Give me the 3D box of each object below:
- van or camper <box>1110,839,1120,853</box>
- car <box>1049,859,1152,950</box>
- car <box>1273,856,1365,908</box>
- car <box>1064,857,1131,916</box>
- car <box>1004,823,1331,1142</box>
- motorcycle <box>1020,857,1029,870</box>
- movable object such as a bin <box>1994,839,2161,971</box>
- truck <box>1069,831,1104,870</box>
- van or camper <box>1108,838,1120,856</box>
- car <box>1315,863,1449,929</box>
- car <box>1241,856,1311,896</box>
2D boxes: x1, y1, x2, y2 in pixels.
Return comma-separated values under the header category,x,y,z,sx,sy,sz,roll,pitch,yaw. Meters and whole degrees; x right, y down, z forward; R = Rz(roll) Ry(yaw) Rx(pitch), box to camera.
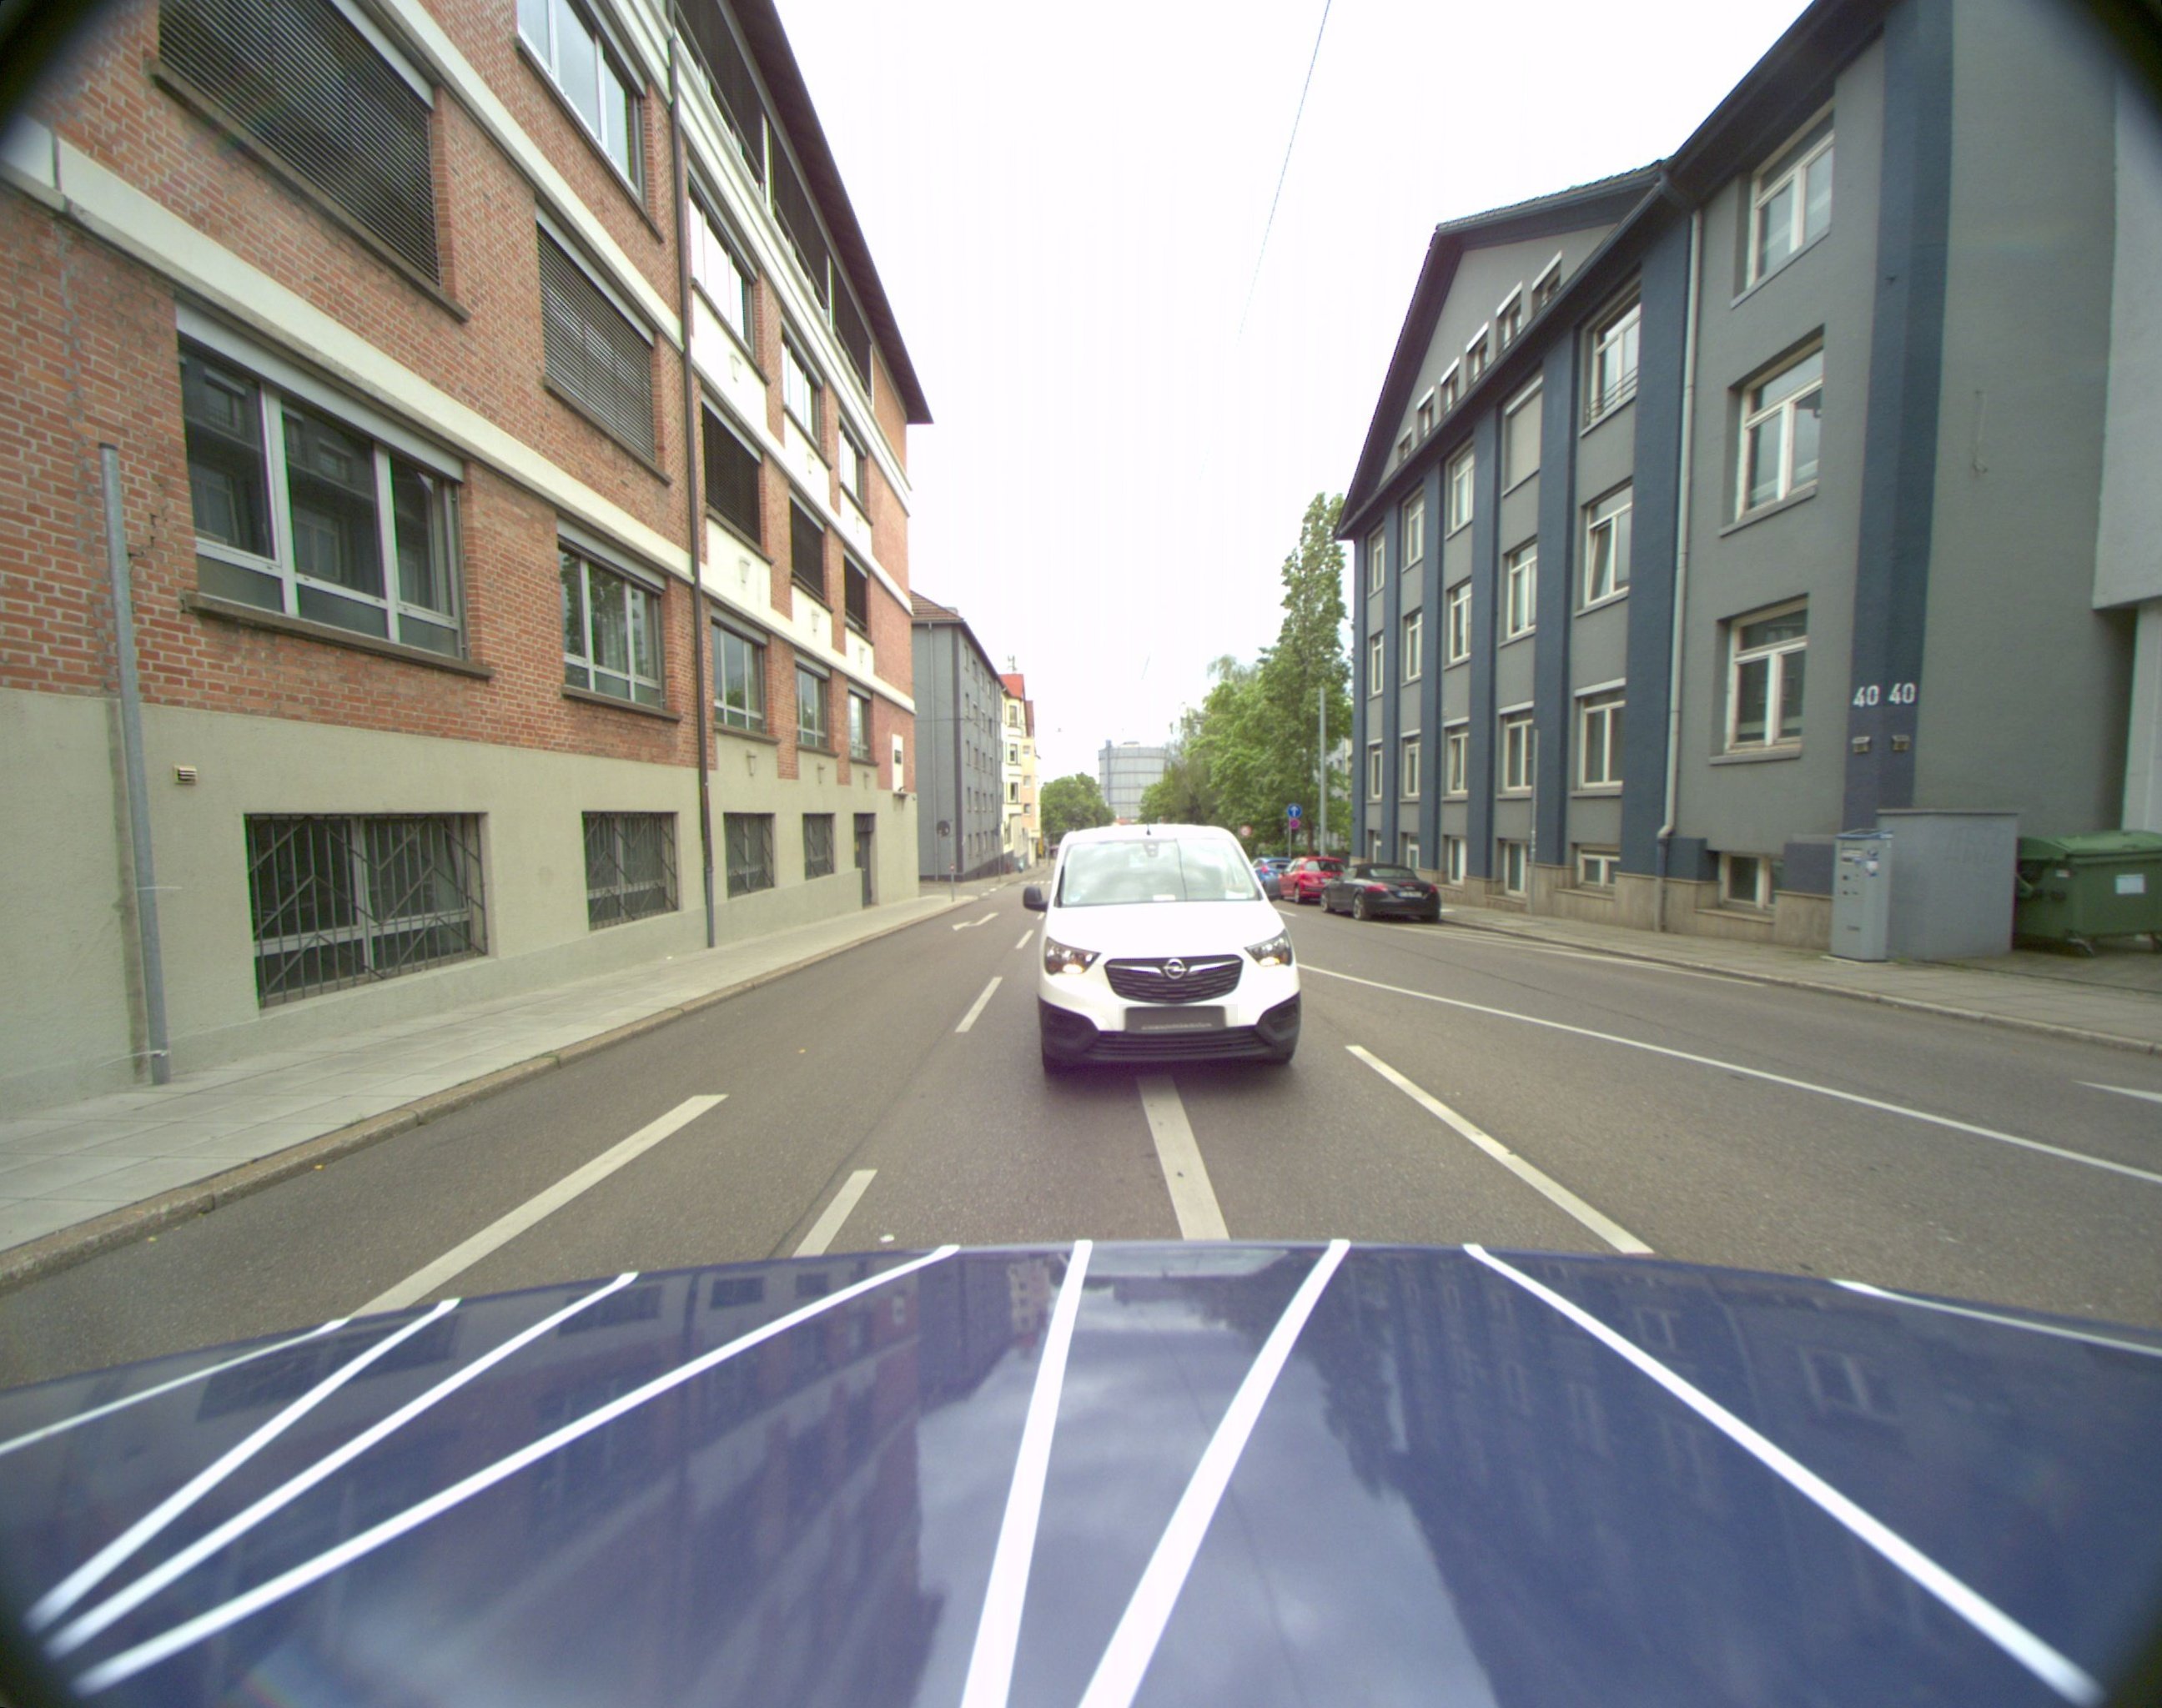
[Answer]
category,x,y,z,sx,sy,sz,roll,pitch,yaw
van or camper,6.725,-1.562,149.777,1.914,2.754,5.925,1,0,2
car,0.384,0.874,14.763,1.724,1.486,3.727,1,0,2
car,7.506,0.834,24.318,1.819,1.465,3.869,2,0,2
car,0.481,0.854,21.674,1.724,1.486,3.727,1,0,2
car,0.555,0.745,6.910,1.840,1.797,4.939,-2,0,1
motorcycle,-5.078,0.849,68.513,0.566,1.105,1.653,4,0,2
movable object such as a bin,12.093,0.585,9.113,1.267,1.448,0.784,-3,2,4
truck,0.574,-0.368,73.648,2.980,3.394,9.358,-2,0,1
van or camper,5.183,-1.027,119.928,1.914,2.754,5.925,1,0,2
car,7.185,0.940,18.601,1.724,1.319,4.041,2,0,1
car,7.557,0.823,29.768,1.724,1.445,3.727,1,0,0
